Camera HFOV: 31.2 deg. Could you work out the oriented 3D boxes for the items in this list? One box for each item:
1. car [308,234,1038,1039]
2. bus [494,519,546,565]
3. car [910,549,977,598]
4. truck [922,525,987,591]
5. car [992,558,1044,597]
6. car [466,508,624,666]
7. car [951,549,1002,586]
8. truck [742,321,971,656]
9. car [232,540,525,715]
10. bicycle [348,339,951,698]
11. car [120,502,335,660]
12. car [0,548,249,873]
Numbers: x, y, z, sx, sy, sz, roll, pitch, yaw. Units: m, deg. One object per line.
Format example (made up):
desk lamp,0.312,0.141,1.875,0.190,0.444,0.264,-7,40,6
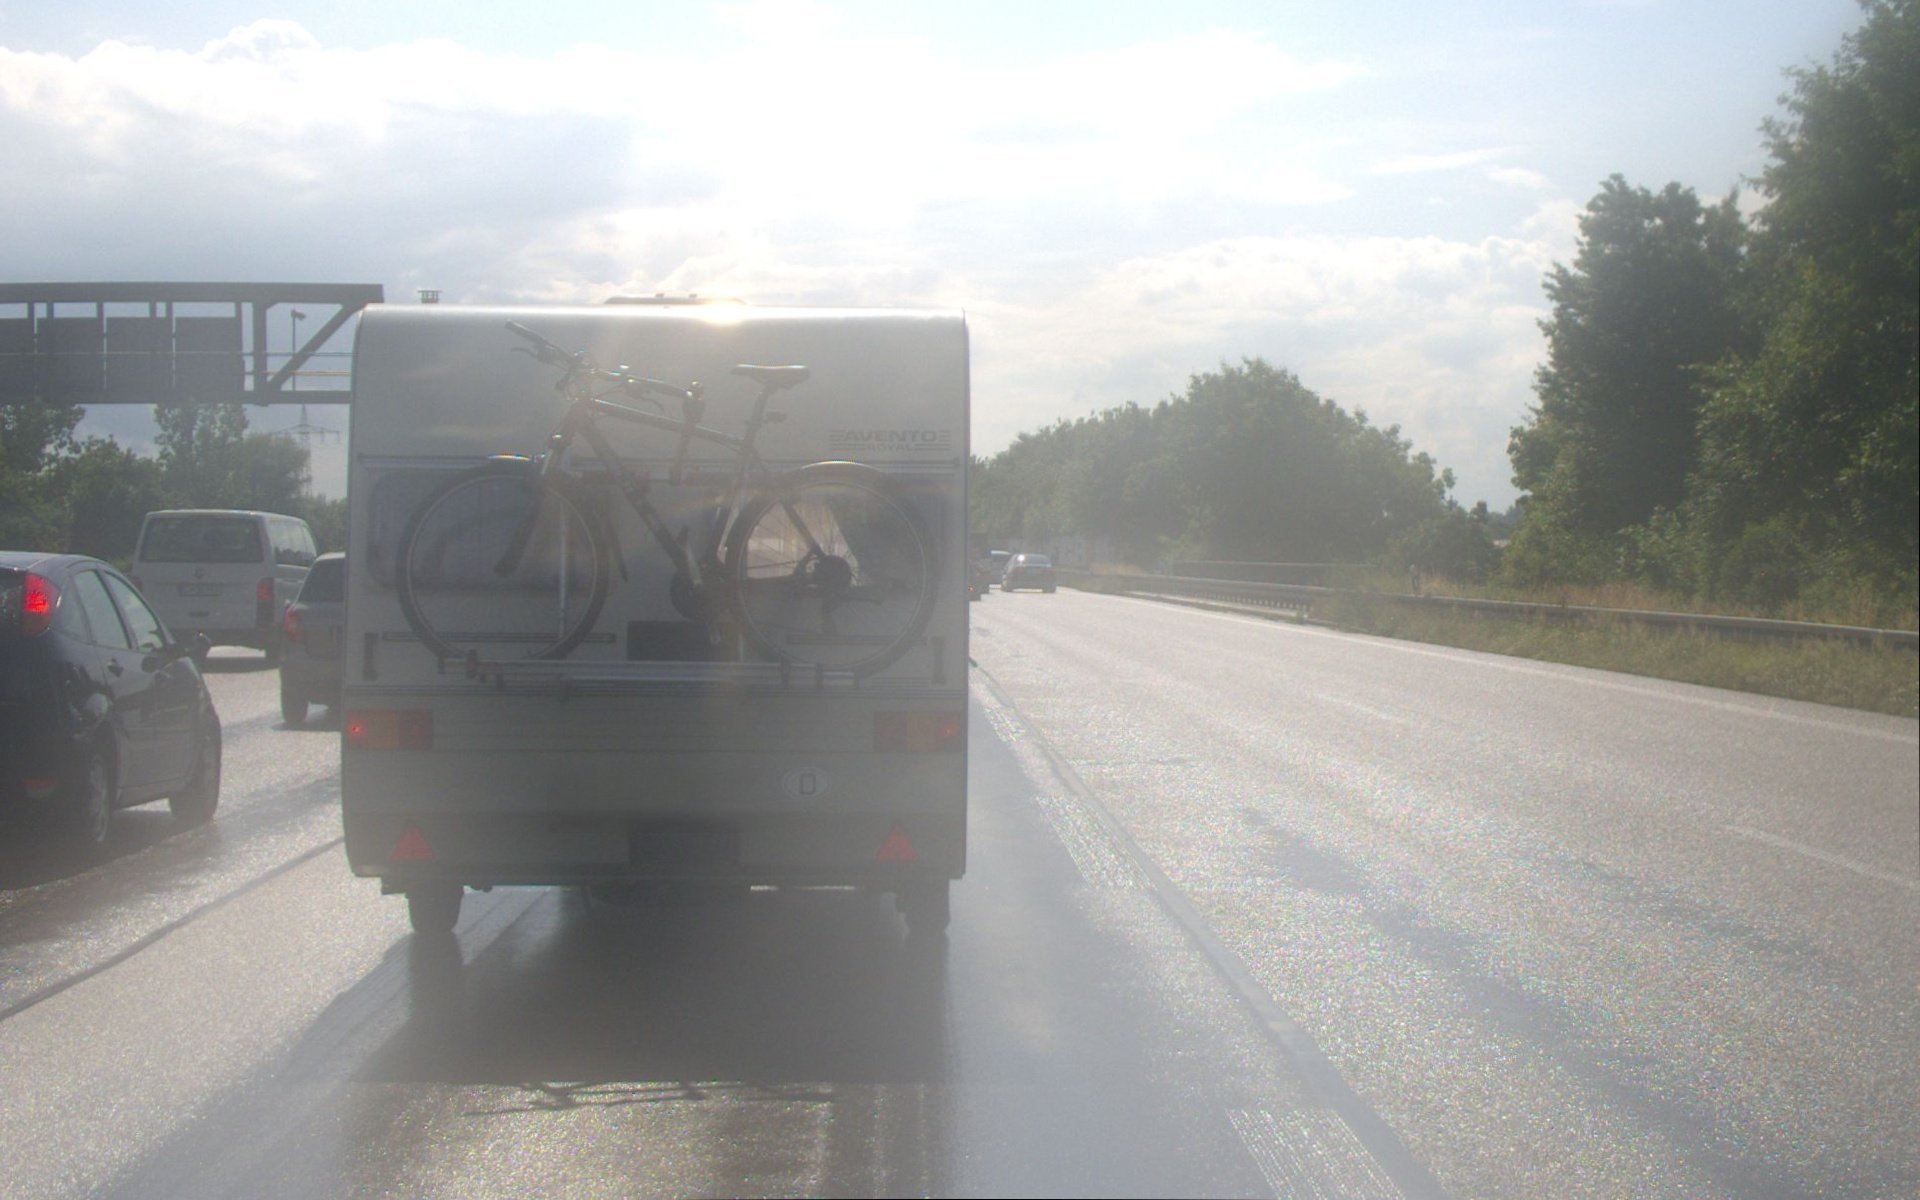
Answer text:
car,-0.976,0.101,13.507,2.410,2.665,4.000,1,1,0
bus,-32.332,-4.235,252.956,2.939,3.275,12.213,0,1,-3
car,-0.557,-0.860,111.881,1.835,1.552,4.001,1,1,-5
truck,-0.219,-1.606,131.103,2.415,2.435,6.053,0,1,0
car,2.267,-0.882,135.341,1.876,1.489,4.000,1,1,-1
car,-5.555,-0.191,46.421,1.876,2.007,4.001,1,1,-4
car,0.729,-1.446,153.149,1.876,1.623,4.001,1,1,-5
truck,-1.632,-1.617,52.938,3.146,4.610,10.737,0,1,-2
car,-5.129,0.201,30.802,1.987,1.453,3.827,0,1,0
bicycle,-1.006,-0.266,11.307,1.934,1.137,0.384,1,0,1
car,-9.413,-0.277,44.542,1.847,1.927,5.017,0,1,-2
car,-4.893,0.467,17.450,1.758,1.438,4.000,0,1,0
